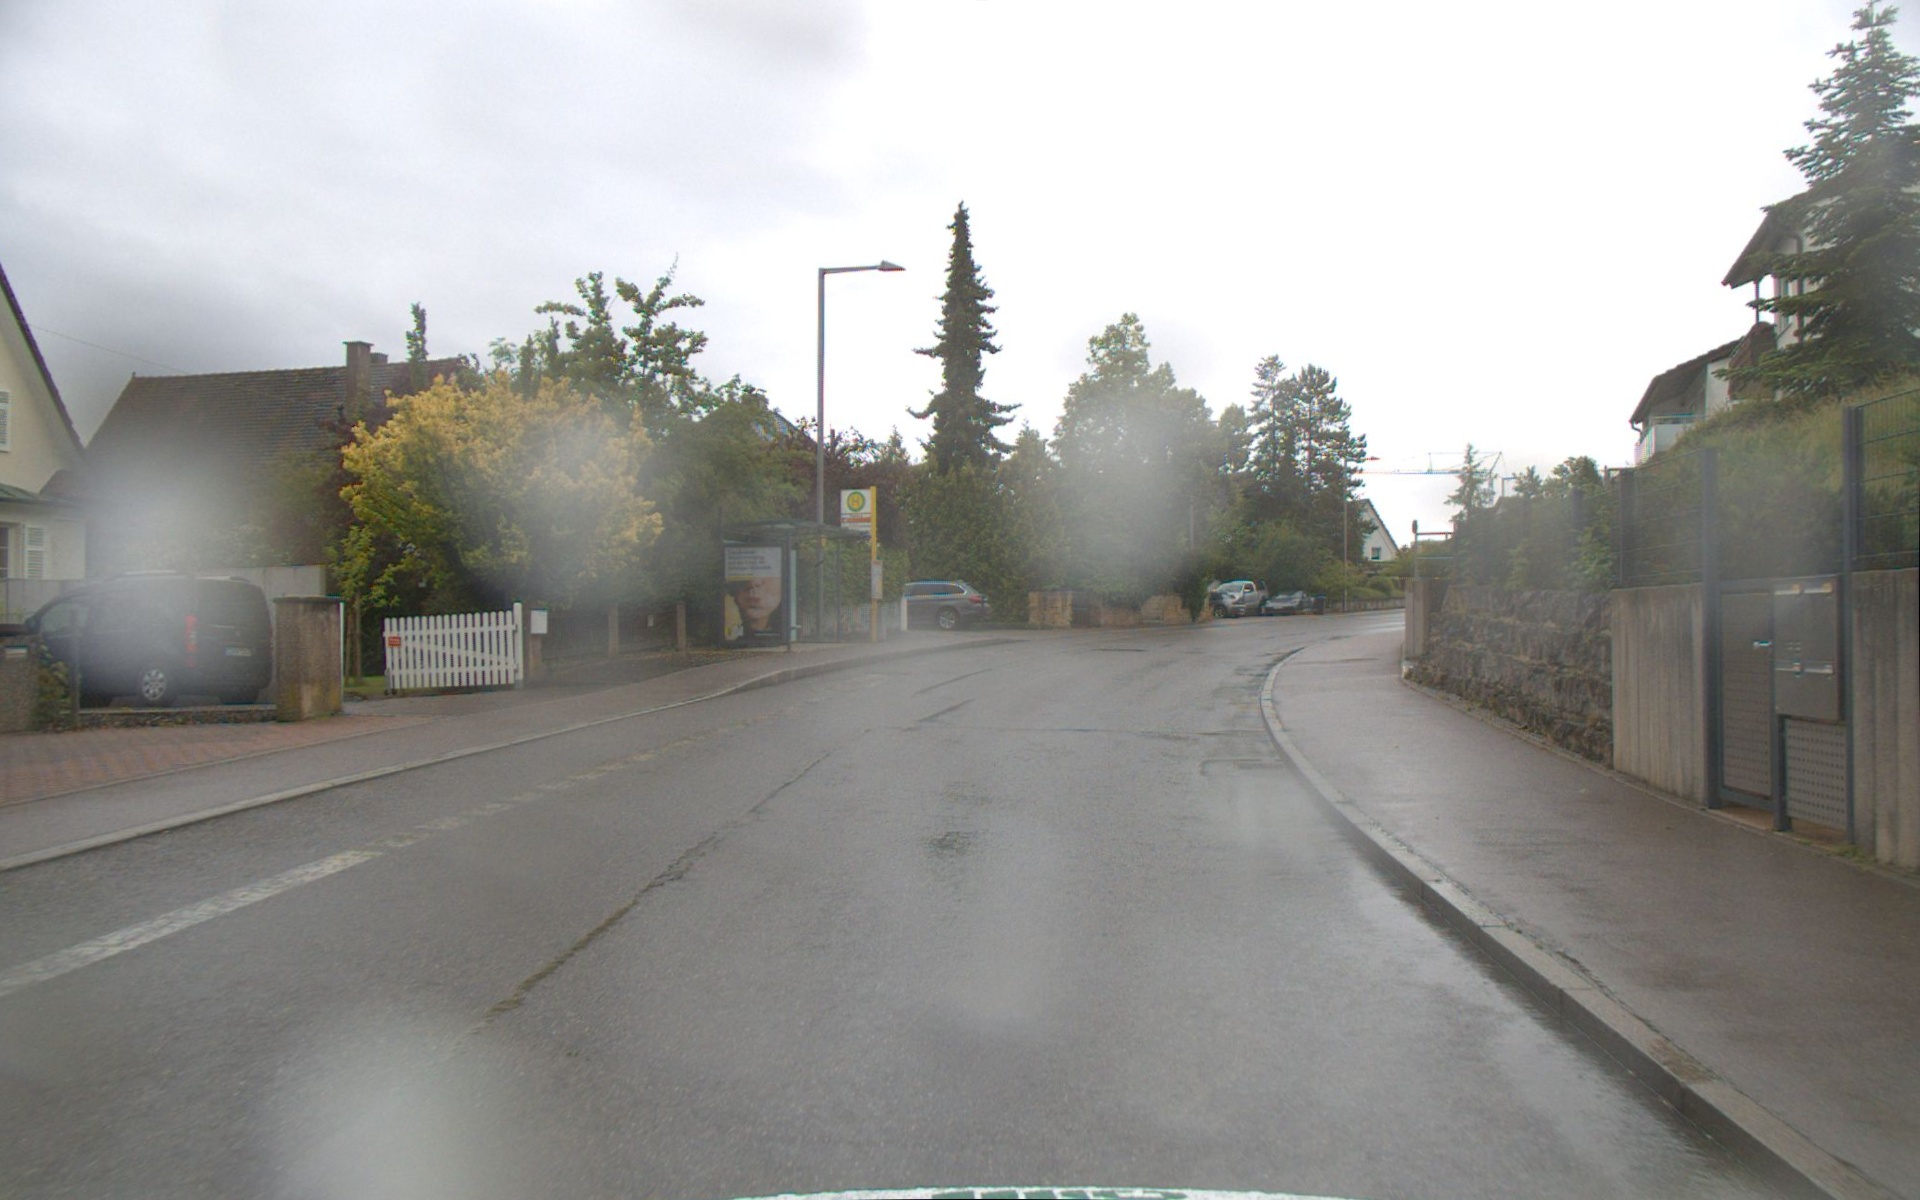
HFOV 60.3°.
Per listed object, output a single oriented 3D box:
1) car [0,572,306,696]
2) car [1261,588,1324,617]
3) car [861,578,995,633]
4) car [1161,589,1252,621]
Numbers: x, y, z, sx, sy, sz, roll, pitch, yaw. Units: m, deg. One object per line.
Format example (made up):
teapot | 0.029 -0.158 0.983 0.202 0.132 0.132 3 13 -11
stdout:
car | -11.665 0.441 23.603 3.902 1.648 2.001 1 0 16
car | 17.392 0.134 86.461 1.958 1.486 3.990 0 0 32
car | -0.944 0.156 49.836 3.762 1.599 1.787 0 0 10
car | 11.792 0.226 79.225 3.913 1.486 1.898 0 0 31
